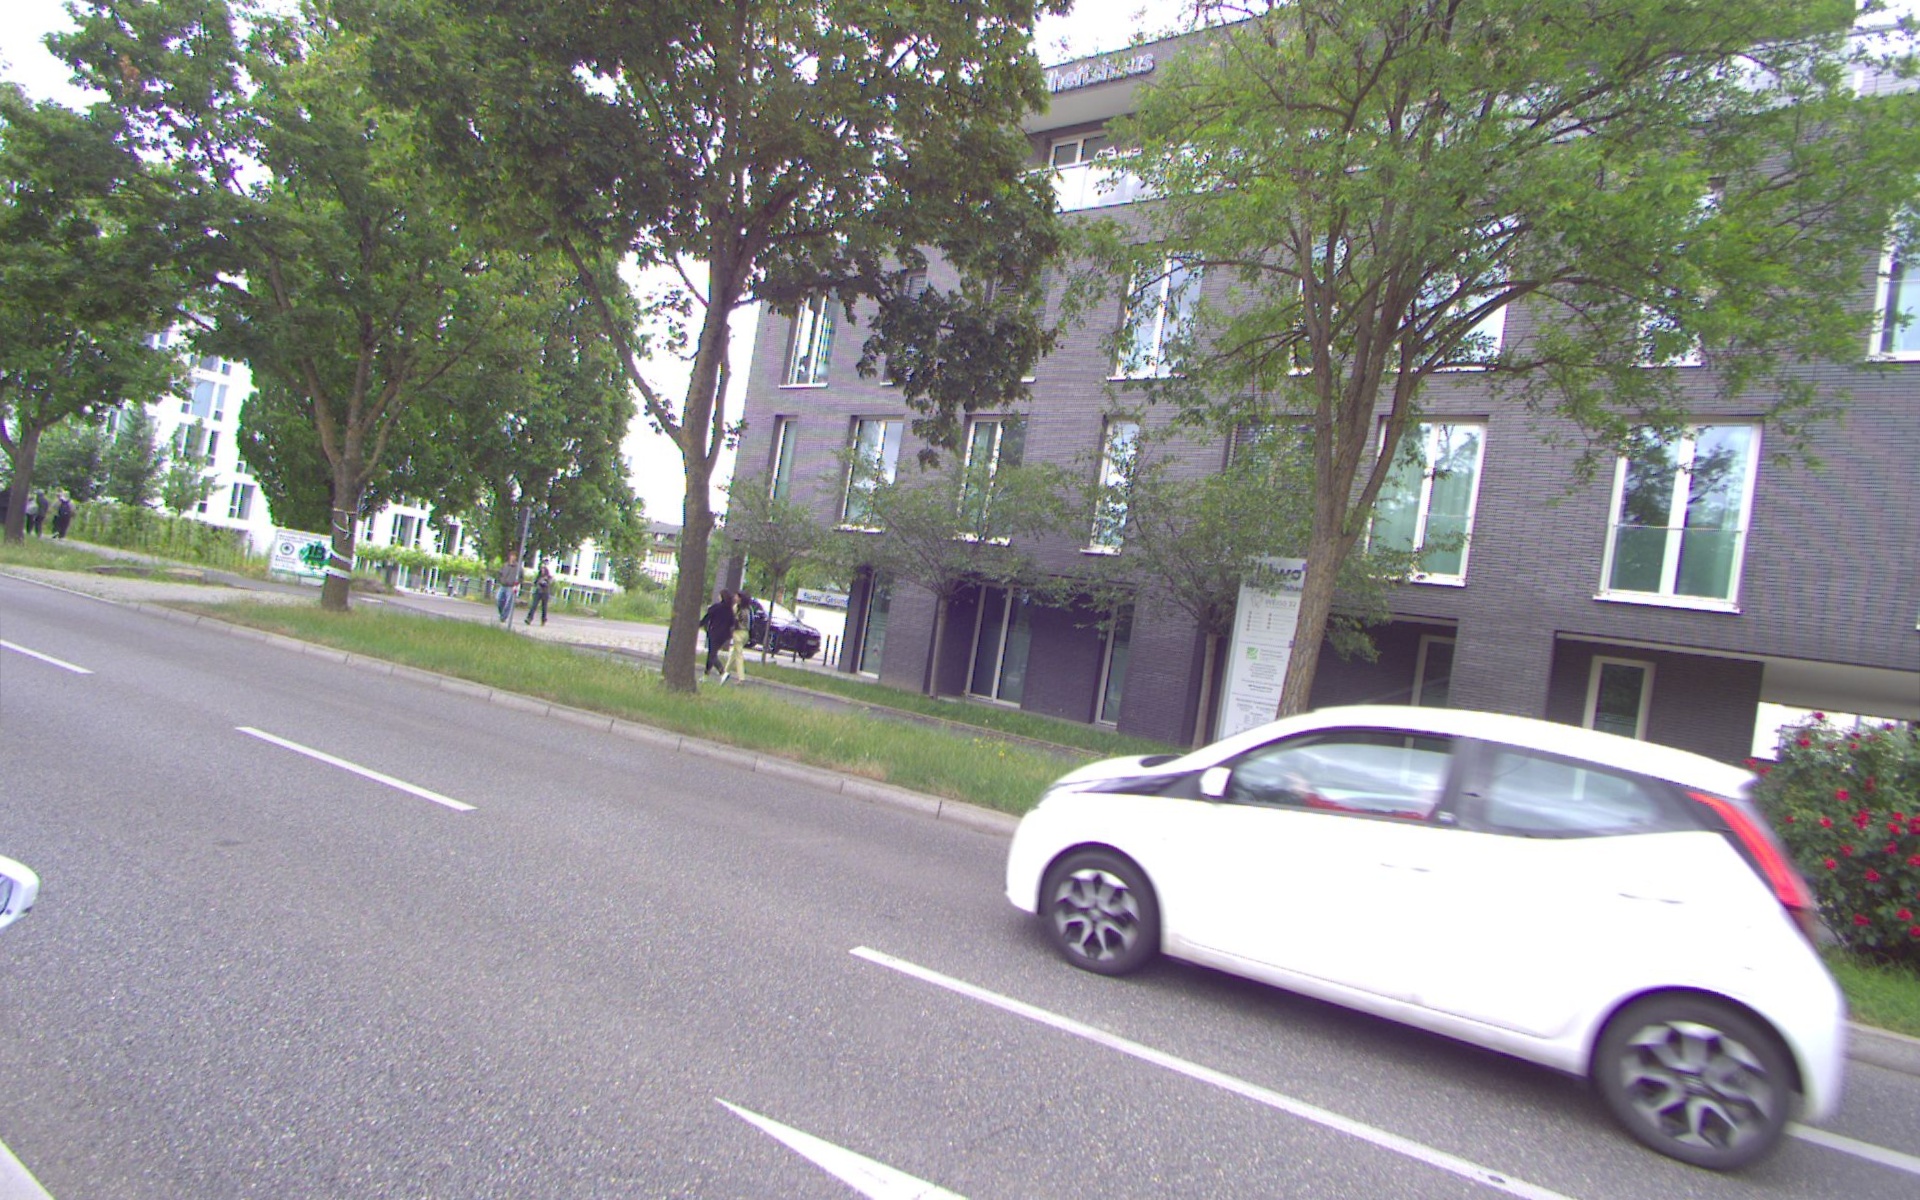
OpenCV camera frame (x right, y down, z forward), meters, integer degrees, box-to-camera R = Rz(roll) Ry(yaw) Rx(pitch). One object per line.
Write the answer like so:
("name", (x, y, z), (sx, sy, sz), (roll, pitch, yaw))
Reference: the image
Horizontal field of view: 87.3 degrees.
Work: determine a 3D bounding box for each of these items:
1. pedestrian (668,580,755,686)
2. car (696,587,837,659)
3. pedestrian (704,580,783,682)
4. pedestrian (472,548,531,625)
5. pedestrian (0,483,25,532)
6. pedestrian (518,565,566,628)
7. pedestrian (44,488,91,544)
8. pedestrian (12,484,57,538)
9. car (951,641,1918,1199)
("pedestrian", (-4.331, 0.575, 17.529), (1.043, 1.679, 0.796), (7, -1, 38))
("car", (-6.112, 0.716, 31.688), (4.080, 1.665, 1.759), (7, -2, 32))
("pedestrian", (-3.914, 0.557, 18.171), (0.937, 1.679, 0.779), (7, -1, 38))
("pedestrian", (-12.236, -0.337, 26.878), (0.946, 1.889, 0.978), (8, -1, -8))
("pedestrian", (-30.788, -3.001, 32.250), (1.093, 1.465, 0.791), (6, -1, 31))
("pedestrian", (-11.394, -0.089, 27.436), (0.821, 1.575, 0.875), (8, -1, -8))
("pedestrian", (-29.677, -2.806, 33.456), (0.868, 1.705, 0.768), (6, -1, 31))
("pedestrian", (-30.124, -2.893, 32.743), (0.868, 1.614, 0.701), (6, -1, 31))
("car", (1.930, 1.170, 4.843), (3.476, 1.442, 1.656), (7, -1, 32))
